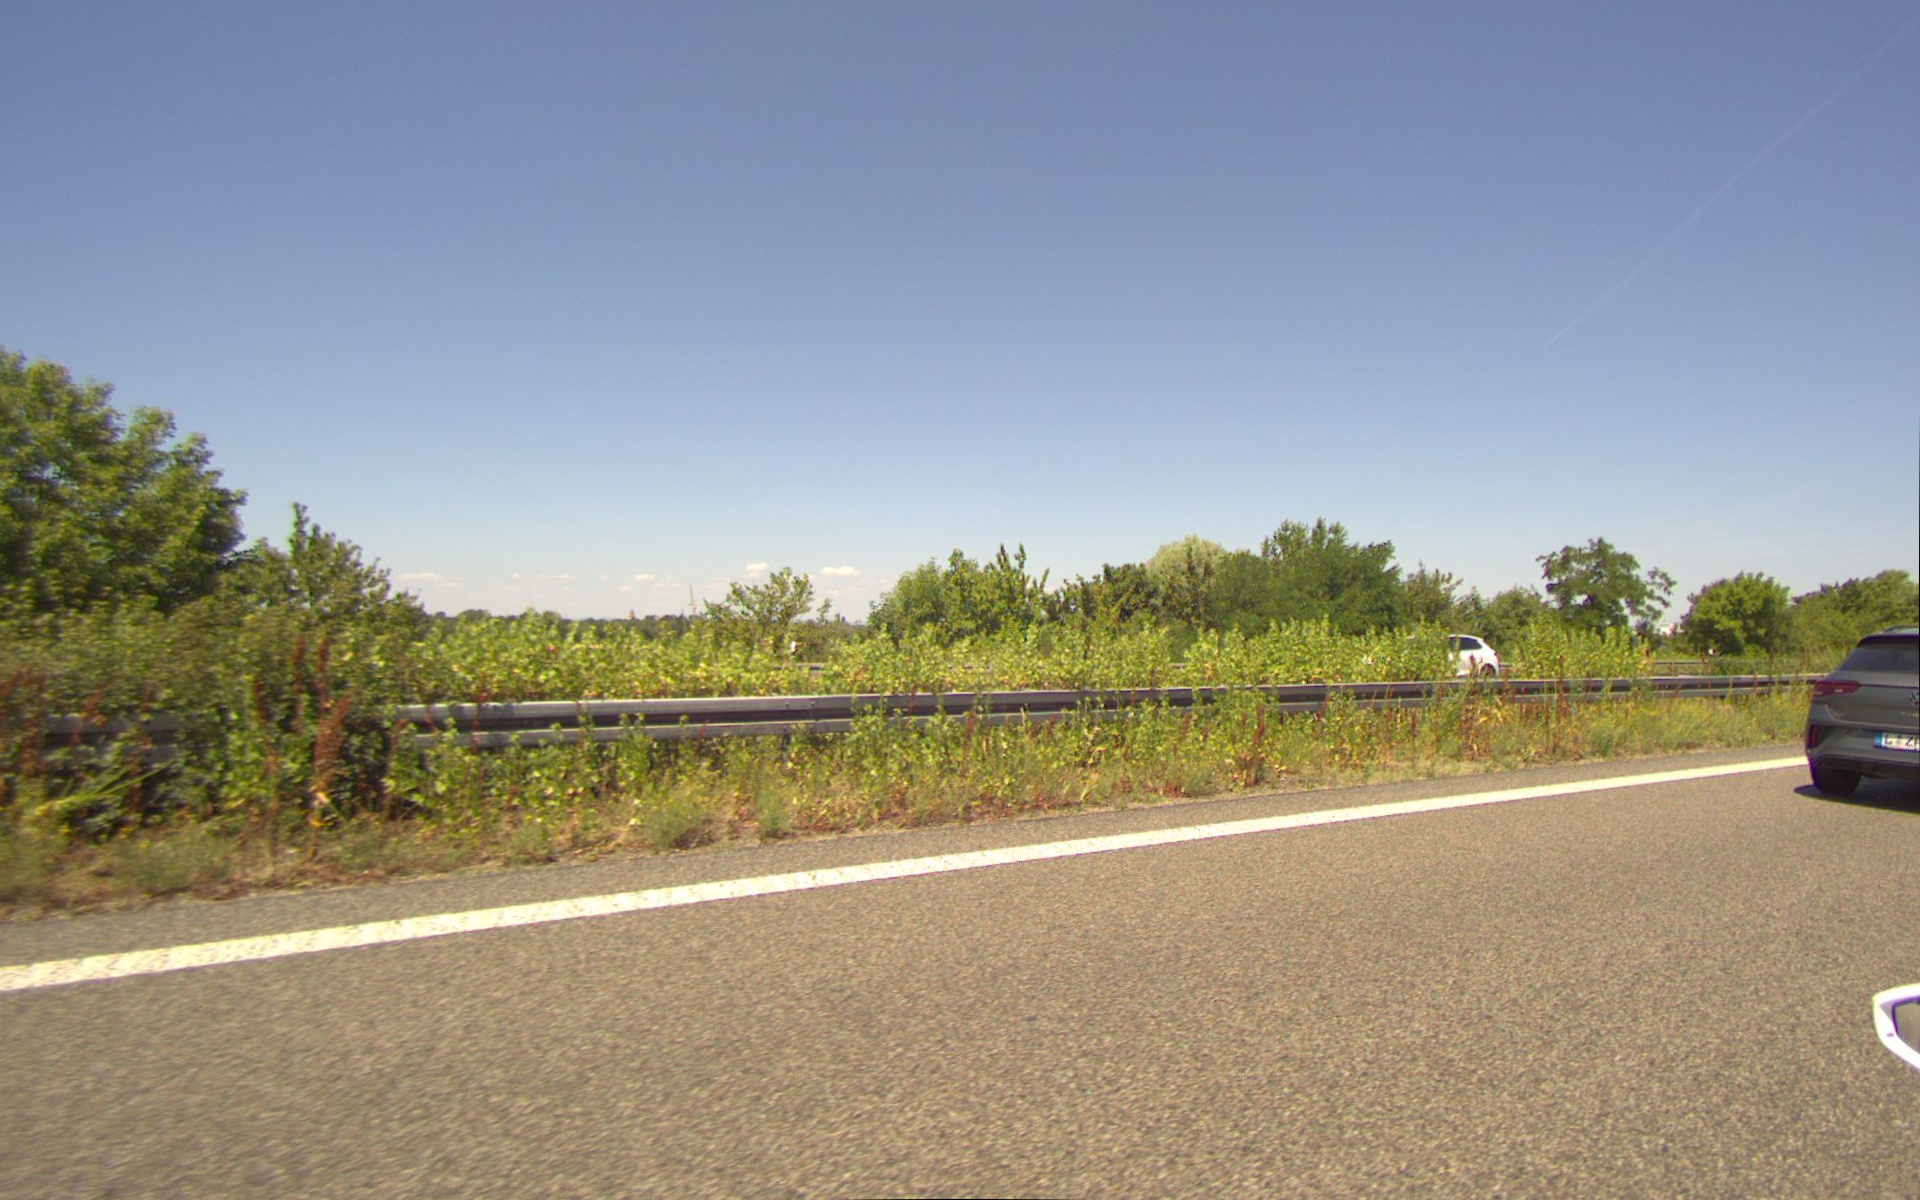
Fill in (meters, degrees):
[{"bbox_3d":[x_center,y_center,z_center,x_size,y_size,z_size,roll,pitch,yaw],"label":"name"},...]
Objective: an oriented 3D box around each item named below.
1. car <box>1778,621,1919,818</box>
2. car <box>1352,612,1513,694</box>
[{"bbox_3d":[9.513,1.029,9.206,4.235,1.551,1.751,2,0,-30],"label":"car"},{"bbox_3d":[12.878,1.417,27.375,3.950,2.040,1.985,2,0,-28],"label":"car"}]
